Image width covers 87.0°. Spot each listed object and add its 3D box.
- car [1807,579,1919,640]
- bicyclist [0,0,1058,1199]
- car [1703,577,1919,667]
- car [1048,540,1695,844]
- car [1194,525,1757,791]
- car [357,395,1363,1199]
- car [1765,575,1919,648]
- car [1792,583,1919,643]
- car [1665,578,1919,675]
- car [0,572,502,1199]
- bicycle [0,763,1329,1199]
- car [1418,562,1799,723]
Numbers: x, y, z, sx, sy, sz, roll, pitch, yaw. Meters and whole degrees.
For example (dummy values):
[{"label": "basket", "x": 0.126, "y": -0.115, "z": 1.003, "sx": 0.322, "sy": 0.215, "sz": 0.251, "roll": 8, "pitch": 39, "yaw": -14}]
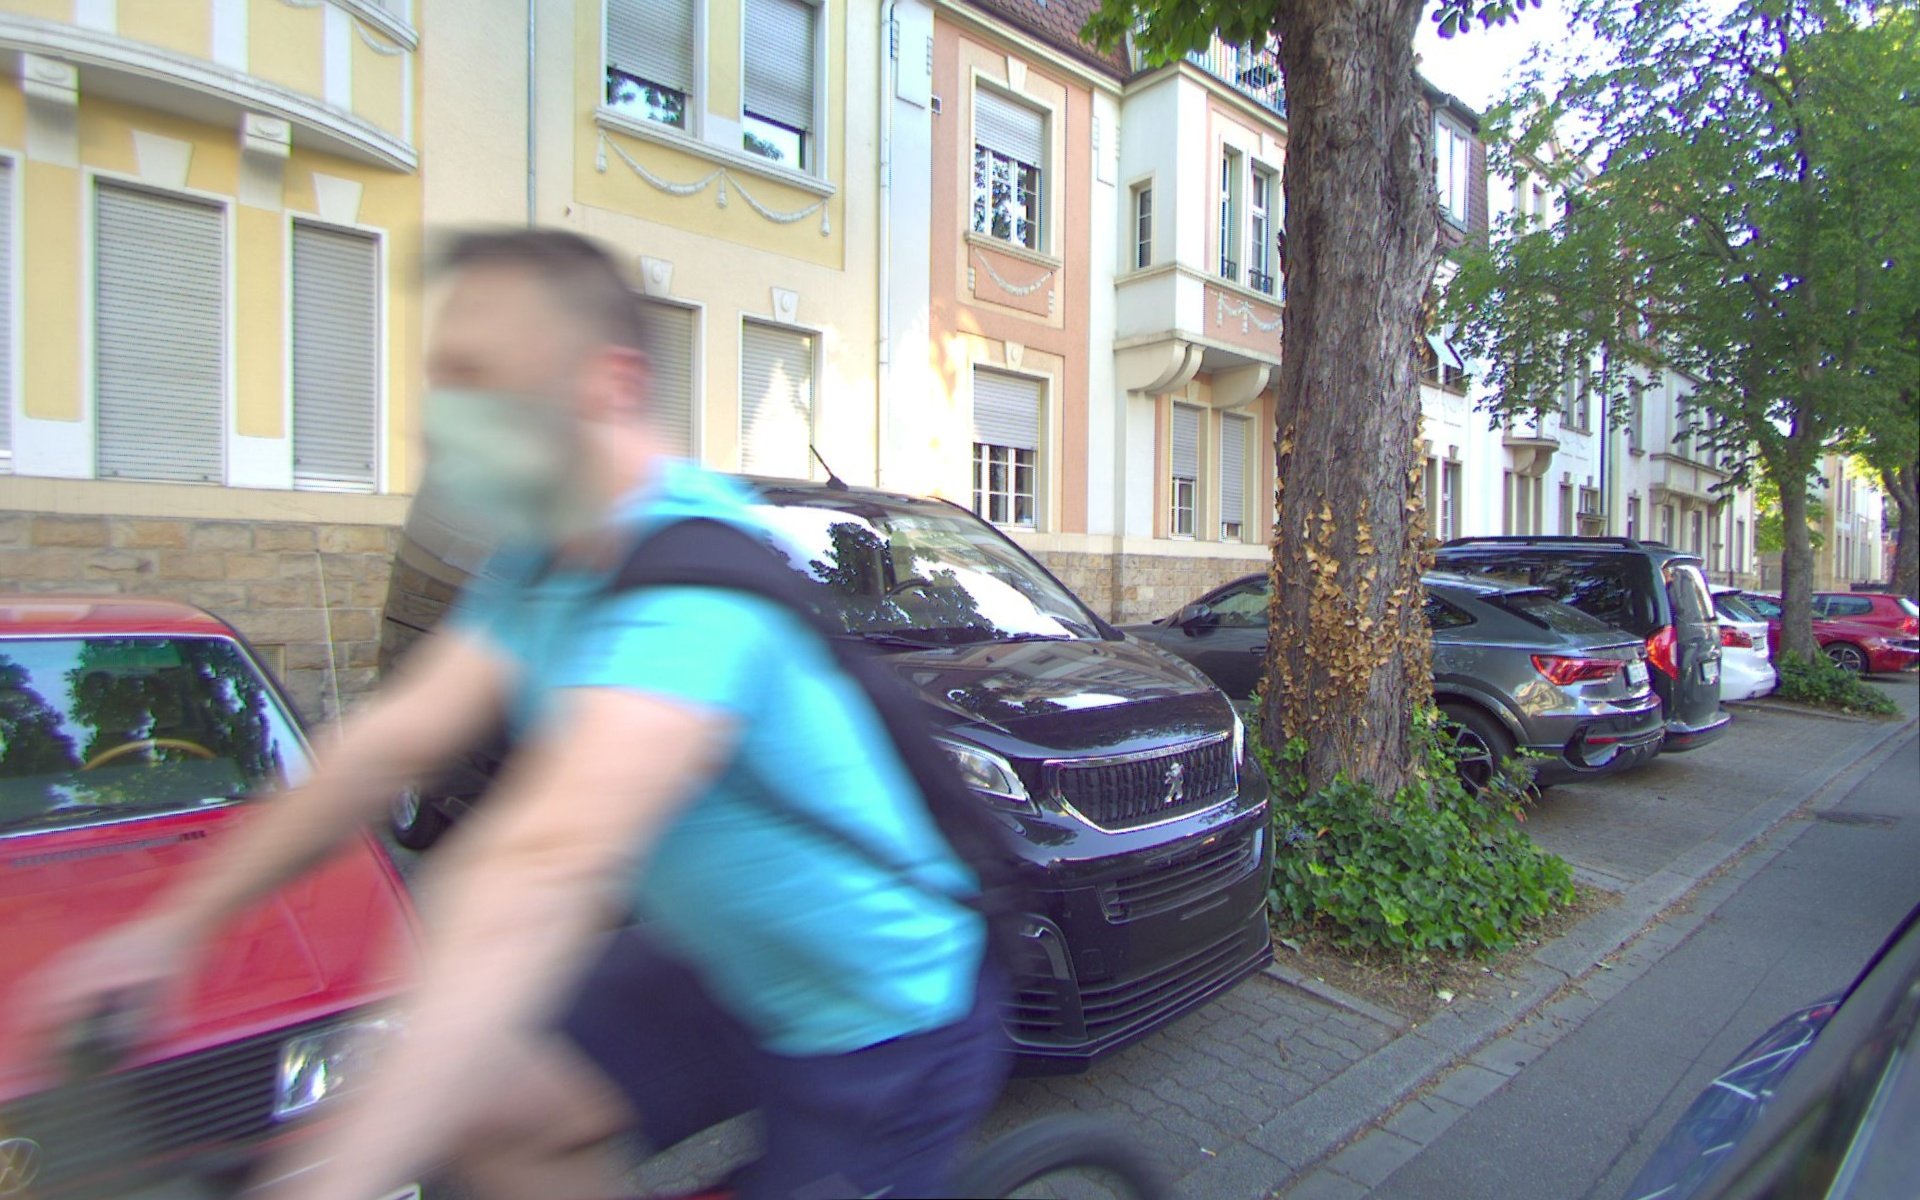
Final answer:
[{"label": "car", "x": 25.937, "y": 0.255, "z": 27.983, "sx": 1.511, "sy": 1.584, "sz": 3.621, "roll": 0, "pitch": 2, "yaw": -40}, {"label": "bicyclist", "x": -0.429, "y": 0.471, "z": 0.886, "sx": 0.816, "sy": 1.797, "sz": 0.648, "roll": 0, "pitch": 0, "yaw": -41}, {"label": "car", "x": 16.865, "y": 0.372, "z": 19.664, "sx": 1.511, "sy": 1.482, "sz": 3.621, "roll": 0, "pitch": 3, "yaw": -40}, {"label": "car", "x": 2.759, "y": 0.400, "z": 7.540, "sx": 1.569, "sy": 1.611, "sz": 4.165, "roll": -1, "pitch": 4, "yaw": -44}, {"label": "car", "x": 4.340, "y": 0.279, "z": 9.042, "sx": 1.569, "sy": 1.849, "sz": 4.165, "roll": -1, "pitch": 4, "yaw": -44}, {"label": "car", "x": -0.990, "y": 0.347, "z": 4.526, "sx": 1.851, "sy": 1.846, "sz": 4.825, "roll": -1, "pitch": 4, "yaw": -44}, {"label": "car", "x": 21.623, "y": 0.244, "z": 24.086, "sx": 1.511, "sy": 1.584, "sz": 3.621, "roll": 0, "pitch": 2, "yaw": -40}, {"label": "car", "x": 24.048, "y": 0.336, "z": 26.214, "sx": 1.511, "sy": 1.420, "sz": 3.621, "roll": 0, "pitch": 3, "yaw": -40}, {"label": "car", "x": 14.931, "y": 0.394, "z": 18.016, "sx": 1.511, "sy": 1.420, "sz": 3.621, "roll": 0, "pitch": 3, "yaw": -40}, {"label": "car", "x": -2.810, "y": 0.653, "z": 2.971, "sx": 1.532, "sy": 1.336, "sz": 3.917, "roll": -1, "pitch": 4, "yaw": -43}, {"label": "bicycle", "x": -0.578, "y": 0.841, "z": 0.751, "sx": 1.978, "sy": 1.132, "sz": 0.743, "roll": 0, "pitch": 0, "yaw": -41}, {"label": "car", "x": 7.721, "y": 0.382, "z": 12.274, "sx": 1.513, "sy": 1.569, "sz": 3.616, "roll": -1, "pitch": 3, "yaw": -45}]
